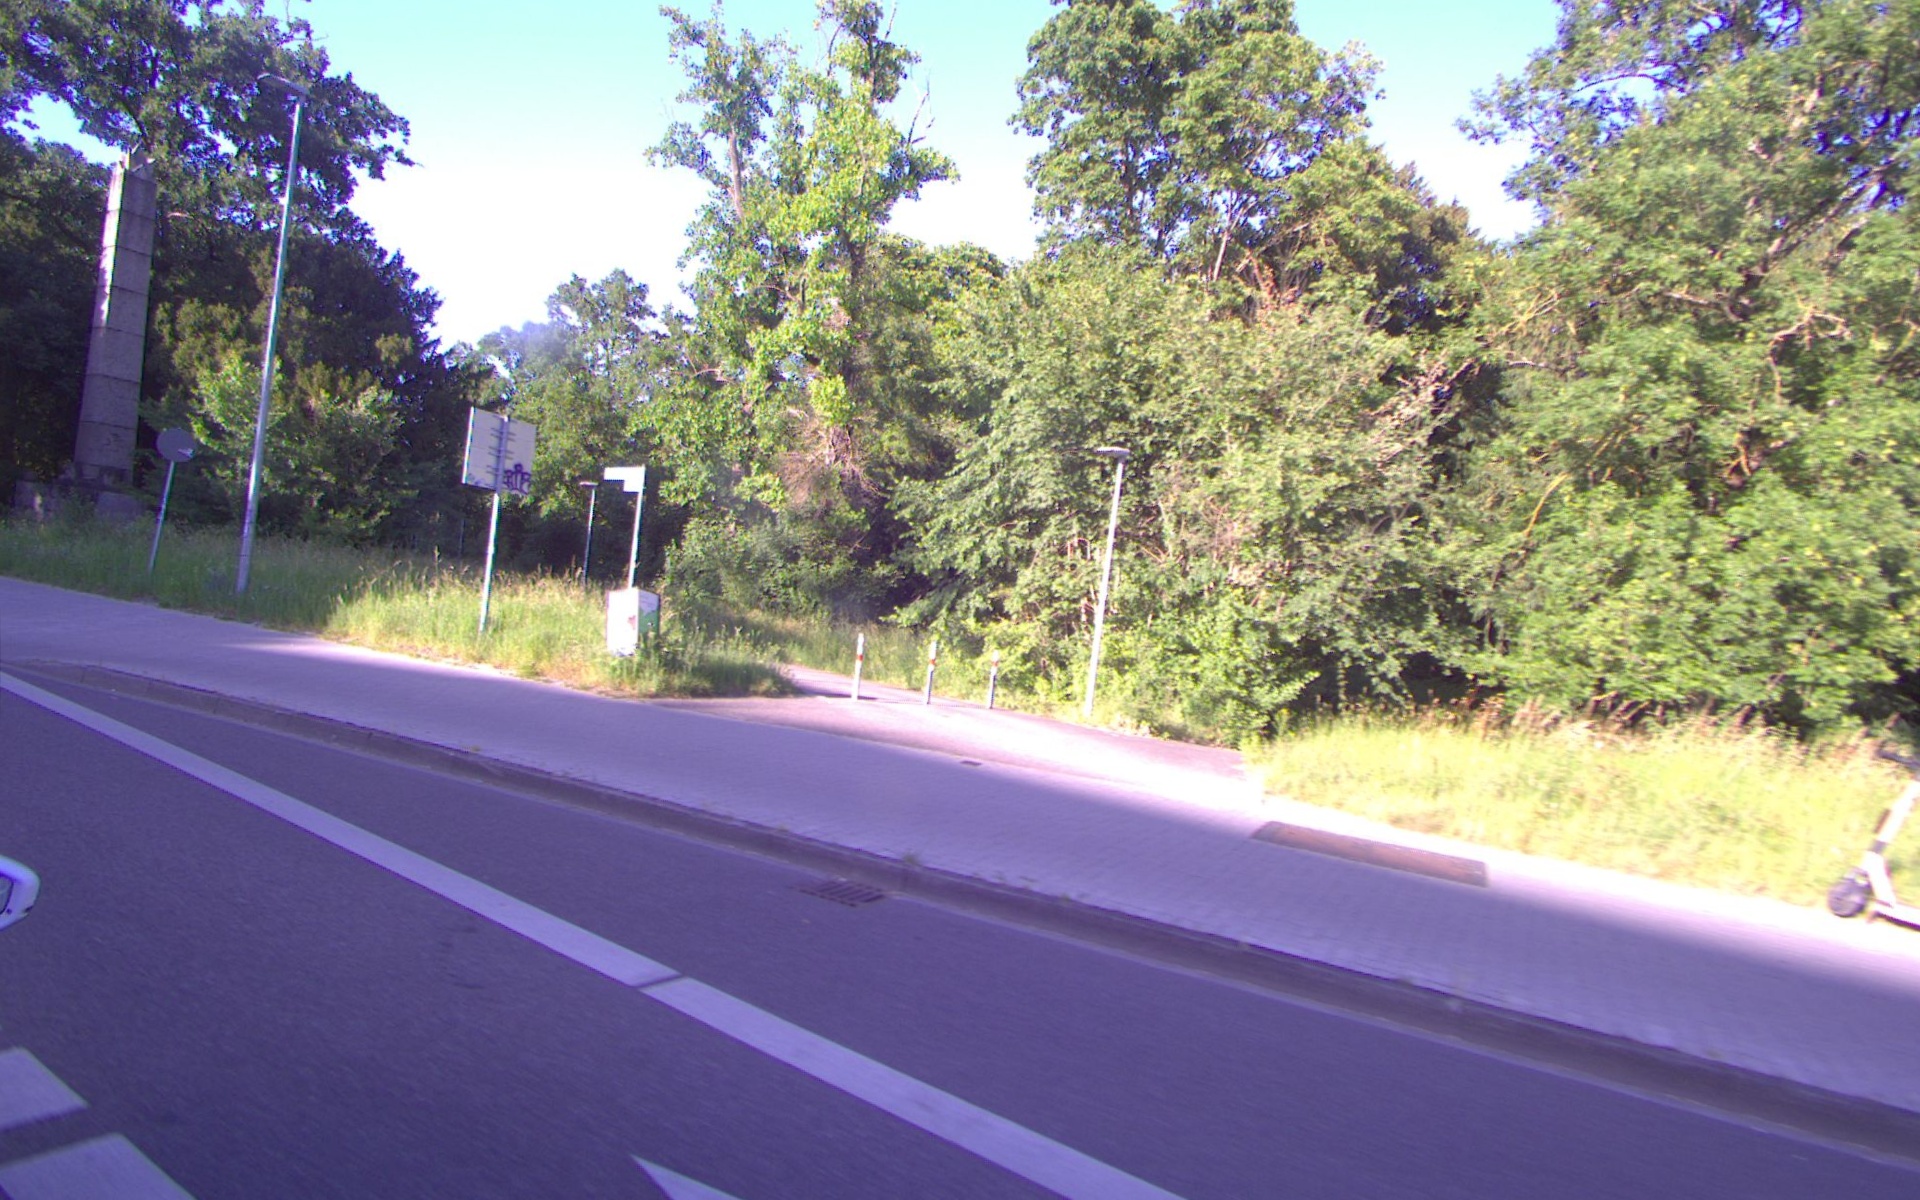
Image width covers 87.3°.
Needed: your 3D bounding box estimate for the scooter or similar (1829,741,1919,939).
[{"bbox_3d":[6.905,1.701,6.825,0.718,1.263,1.314,6,0,-38],"label":"scooter or similar"}]
